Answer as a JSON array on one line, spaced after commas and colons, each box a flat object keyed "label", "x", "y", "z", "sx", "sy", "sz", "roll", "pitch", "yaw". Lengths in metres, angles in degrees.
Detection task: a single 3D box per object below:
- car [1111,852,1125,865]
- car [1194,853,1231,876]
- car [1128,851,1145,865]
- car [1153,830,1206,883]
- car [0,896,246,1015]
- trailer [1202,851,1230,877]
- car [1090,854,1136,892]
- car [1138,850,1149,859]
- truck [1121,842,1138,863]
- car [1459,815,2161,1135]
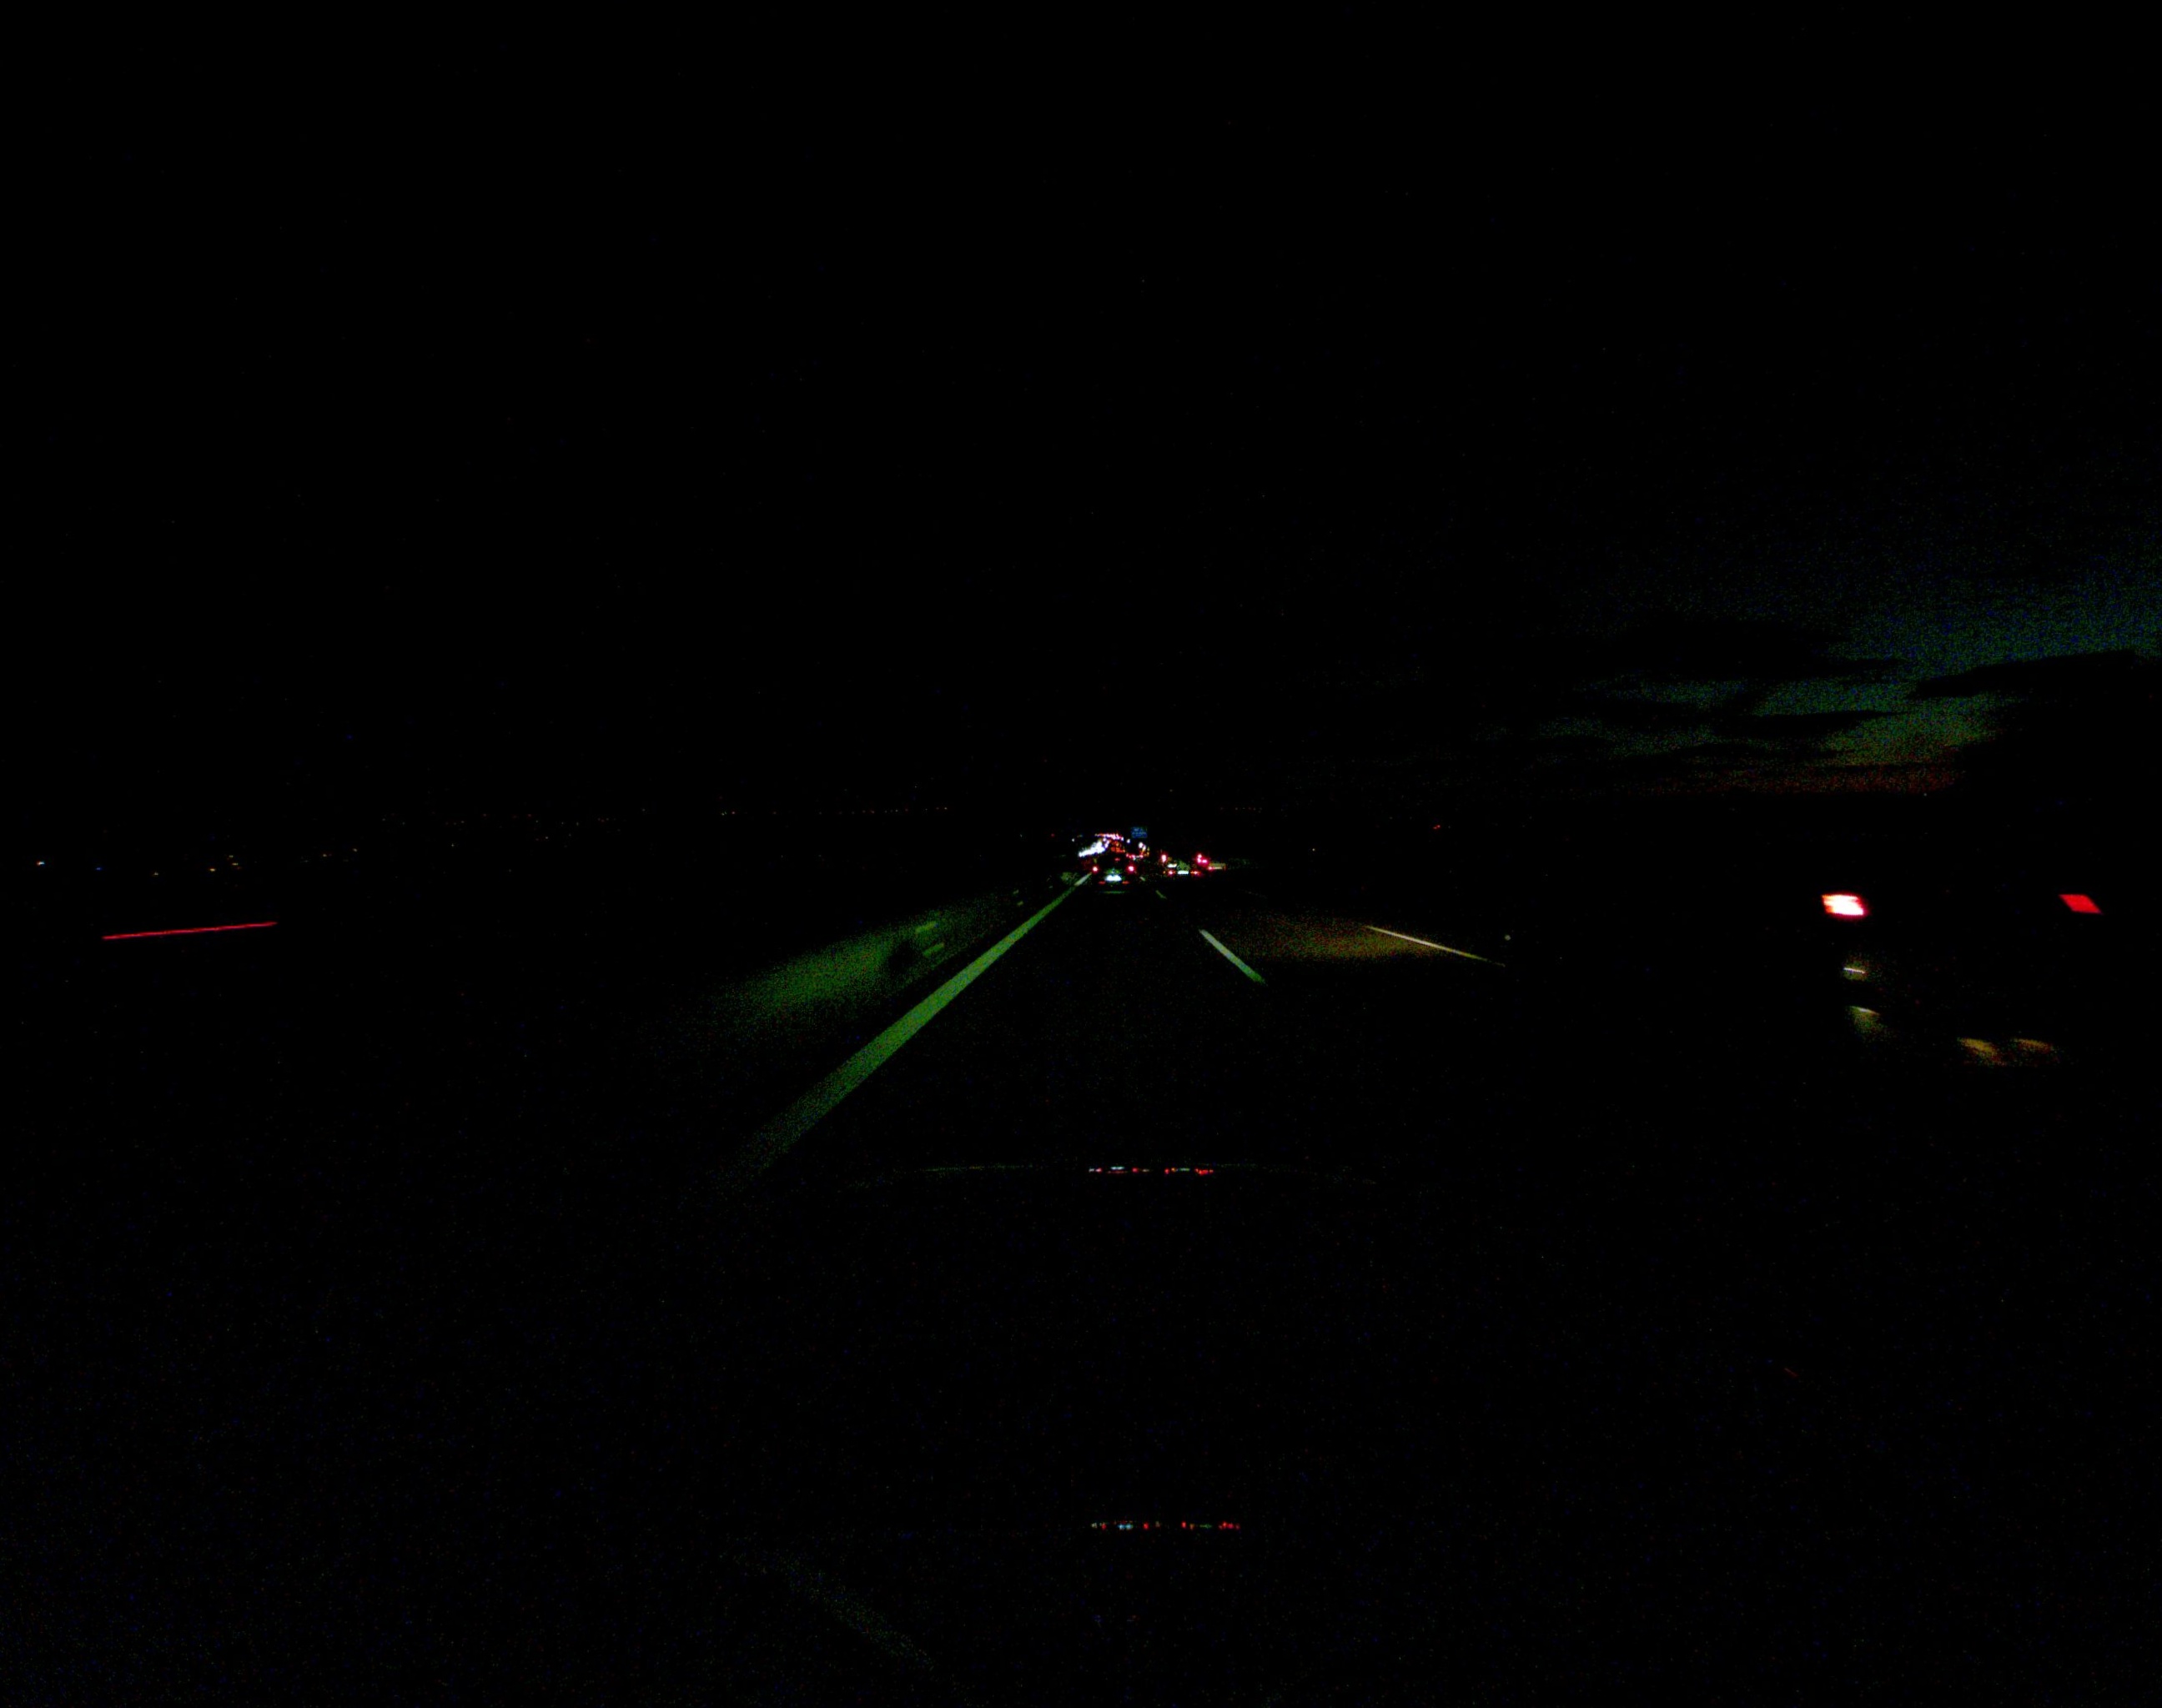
[{"label": "car", "x": 4.583, "y": 0.573, "z": 101.252, "sx": 1.738, "sy": 1.440, "sz": 4.370, "roll": -2, "pitch": 0, "yaw": 2}, {"label": "car", "x": 9.672, "y": 0.731, "z": 60.198, "sx": 2.154, "sy": 1.563, "sz": 4.726, "roll": -1, "pitch": 0, "yaw": 2}, {"label": "car", "x": 8.112, "y": 0.557, "z": 120.262, "sx": 2.342, "sy": 1.914, "sz": 4.726, "roll": -2, "pitch": 0, "yaw": 2}, {"label": "car", "x": 5.155, "y": 0.096, "z": 43.409, "sx": 2.342, "sy": 2.535, "sz": 5.705, "roll": -2, "pitch": 0, "yaw": 2}, {"label": "car", "x": -15.279, "y": 1.480, "z": 11.365, "sx": 1.987, "sy": 1.419, "sz": 4.983, "roll": -4, "pitch": 0, "yaw": 0}, {"label": "trailer", "x": 9.373, "y": 0.658, "z": 56.529, "sx": 1.560, "sy": 1.693, "sz": 2.822, "roll": -1, "pitch": 0, "yaw": 2}, {"label": "car", "x": 1.355, "y": 0.762, "z": 34.237, "sx": 1.786, "sy": 1.469, "sz": 3.775, "roll": -1, "pitch": 1, "yaw": 2}, {"label": "car", "x": 14.588, "y": 0.052, "z": 188.922, "sx": 2.342, "sy": 2.075, "sz": 4.726, "roll": -2, "pitch": 0, "yaw": 2}, {"label": "truck", "x": 9.387, "y": -0.286, "z": 157.318, "sx": 2.771, "sy": 3.955, "sz": 7.994, "roll": -2, "pitch": 0, "yaw": 1}, {"label": "car", "x": 4.799, "y": 0.610, "z": 6.412, "sx": 1.640, "sy": 1.596, "sz": 4.511, "roll": -1, "pitch": 0, "yaw": 1}]
